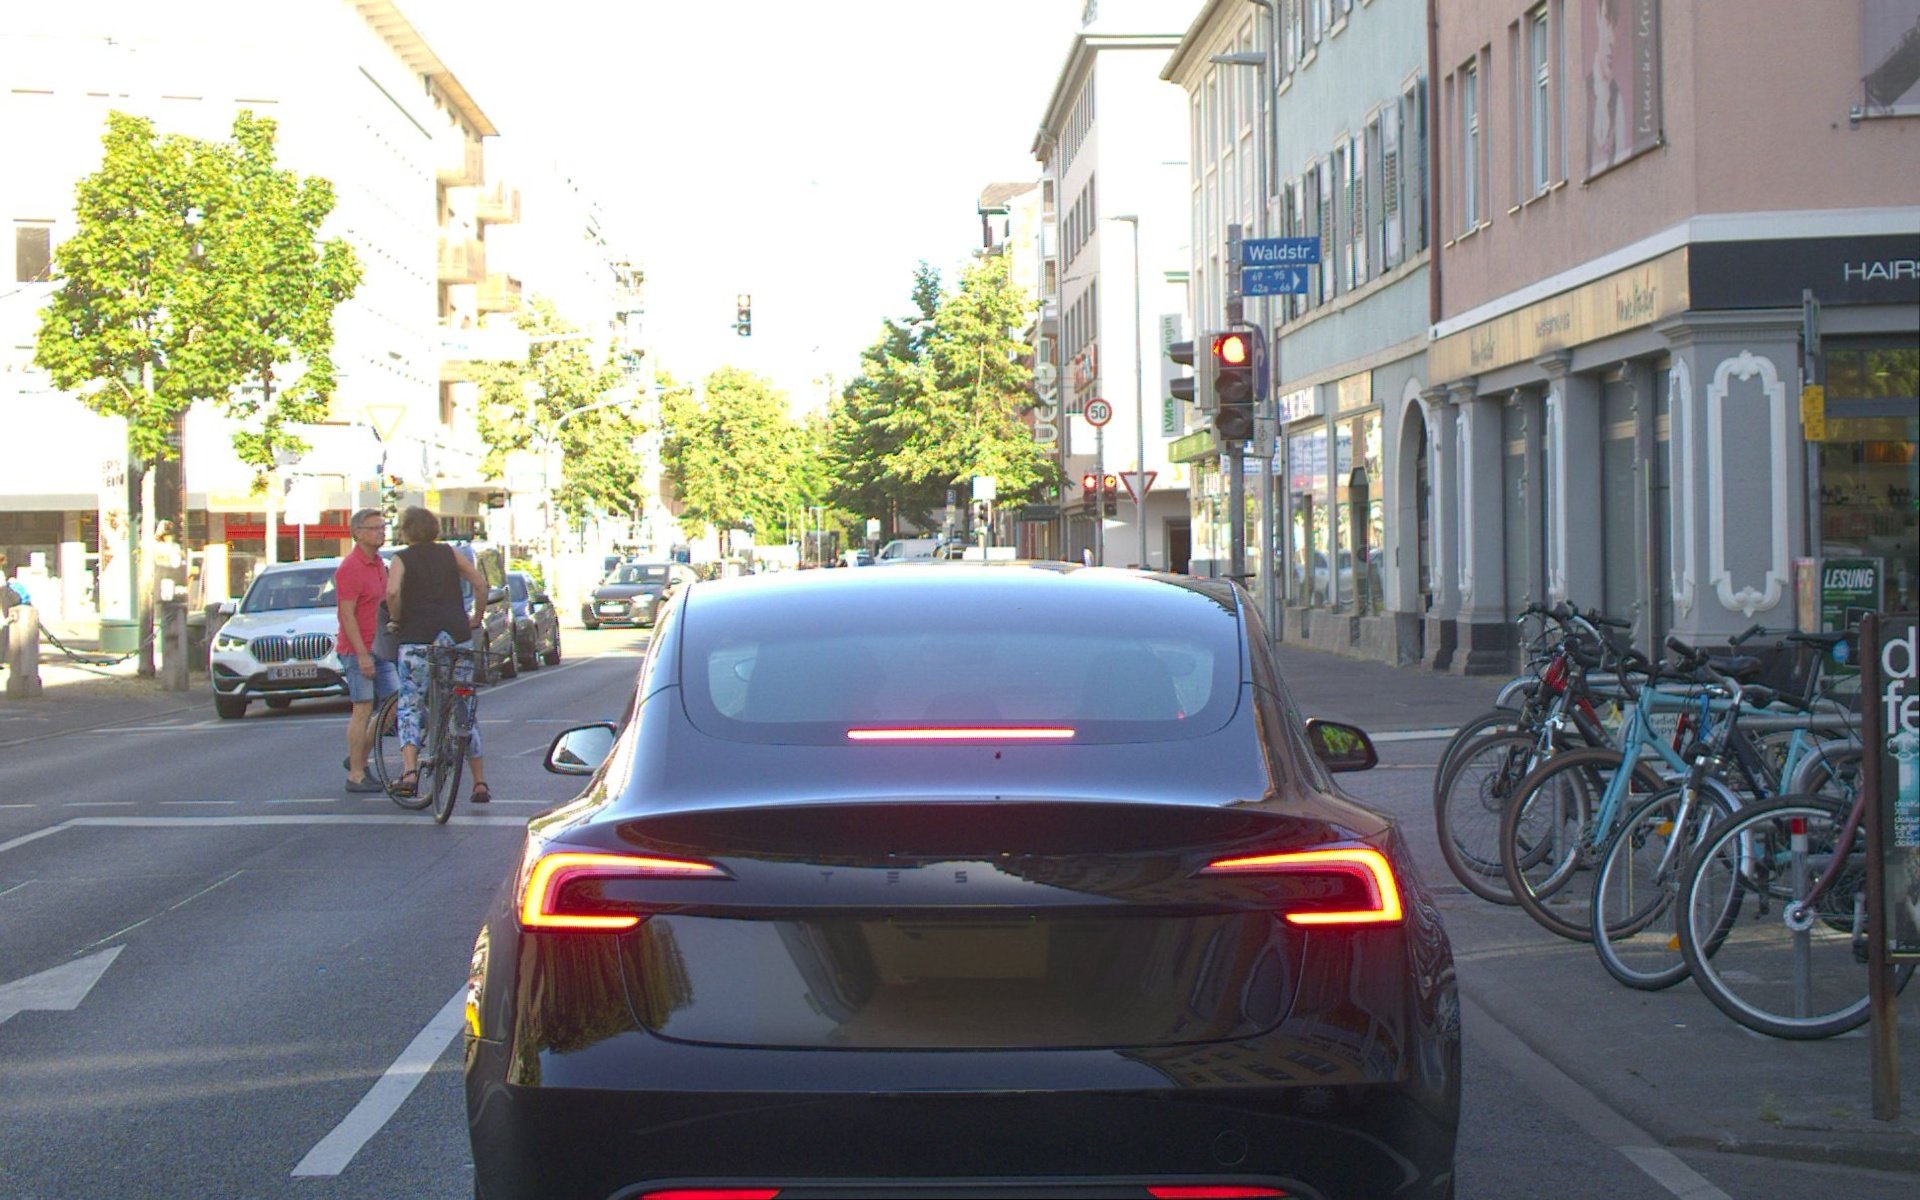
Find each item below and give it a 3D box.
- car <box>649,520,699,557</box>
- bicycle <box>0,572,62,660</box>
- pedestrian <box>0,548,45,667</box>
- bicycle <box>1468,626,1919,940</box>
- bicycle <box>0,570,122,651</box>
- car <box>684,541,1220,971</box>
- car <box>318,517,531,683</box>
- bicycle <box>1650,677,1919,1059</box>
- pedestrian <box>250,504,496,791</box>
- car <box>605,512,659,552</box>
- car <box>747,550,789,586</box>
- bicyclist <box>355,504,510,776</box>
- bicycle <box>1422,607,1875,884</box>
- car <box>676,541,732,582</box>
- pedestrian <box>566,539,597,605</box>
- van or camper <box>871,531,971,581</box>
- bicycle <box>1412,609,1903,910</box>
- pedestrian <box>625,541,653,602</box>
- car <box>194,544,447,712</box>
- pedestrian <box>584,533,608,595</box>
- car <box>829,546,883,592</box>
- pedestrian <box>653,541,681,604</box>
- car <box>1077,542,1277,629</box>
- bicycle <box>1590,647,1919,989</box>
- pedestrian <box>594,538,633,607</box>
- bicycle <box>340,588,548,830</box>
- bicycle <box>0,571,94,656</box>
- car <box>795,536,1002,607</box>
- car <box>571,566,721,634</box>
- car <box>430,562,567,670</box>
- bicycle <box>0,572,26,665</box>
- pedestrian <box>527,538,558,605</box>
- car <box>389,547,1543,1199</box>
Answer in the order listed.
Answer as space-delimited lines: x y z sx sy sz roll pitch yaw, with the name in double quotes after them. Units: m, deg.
-15.648 -3.357 188.286 2.275 2.007 4.717 1 1 1 "car"
-14.483 0.218 49.870 2.662 1.255 0.943 1 0 -3 "bicycle"
-13.385 0.090 47.030 1.095 1.606 1.264 1 1 37 "pedestrian"
2.806 0.654 12.534 1.813 1.098 0.653 0 1 1 "bicycle"
-14.690 0.164 54.570 2.542 1.247 0.943 1 0 -3 "bicycle"
-0.054 0.522 14.204 1.850 1.476 4.452 1 1 -1 "car"
-6.568 -0.036 42.668 1.945 1.940 4.820 0 1 -1 "car"
3.032 0.756 10.056 1.882 1.040 0.653 -1 1 1 "bicycle"
-3.627 0.278 21.300 1.111 1.714 1.060 1 0 20 "pedestrian"
-17.124 -3.537 179.647 2.275 2.007 4.717 1 1 1 "car"
-10.441 -1.743 187.139 2.132 1.963 4.134 0 1 -1 "car"
-2.963 0.212 19.276 0.606 1.479 0.958 1 0 -24 "bicyclist"
2.928 0.609 14.742 1.813 1.148 0.653 0 1 1 "bicycle"
-12.393 -1.871 166.456 2.414 1.963 4.678 0 1 -1 "car"
-10.719 -0.800 97.330 0.732 1.861 0.791 1 0 -17 "pedestrian"
-1.899 -2.137 167.554 4.850 2.430 1.851 0 1 -1 "van or camper"
2.737 0.617 13.607 1.813 1.148 0.653 0 1 1 "bicycle"
-9.963 -0.883 106.666 0.694 1.861 0.910 1 0 -14 "pedestrian"
-6.682 0.254 36.345 1.825 1.559 4.301 -4 1 -1 "car"
-10.993 -1.075 103.883 0.695 1.861 0.659 1 0 -5 "pedestrian"
-4.074 -1.223 134.888 2.035 1.782 4.006 0 1 -1 "car"
-8.758 -0.829 102.873 0.774 1.861 1.009 1 0 -7 "pedestrian"
4.713 -0.327 74.681 3.992 1.861 1.698 0 1 -21 "car"
3.006 0.690 11.127 1.813 1.056 0.653 0 1 1 "bicycle"
-9.523 -0.756 94.551 0.734 1.861 0.789 1 0 28 "pedestrian"
-2.894 0.571 19.116 0.627 1.219 2.001 0 2 -24 "bicycle"
-14.529 0.190 52.145 2.542 1.247 0.943 1 0 -3 "bicycle"
-1.510 -0.707 84.680 4.697 1.425 1.736 -4 1 -24 "car"
-6.647 -0.006 73.057 1.695 1.385 3.912 1 1 19 "car"
-6.649 0.204 49.802 1.461 1.425 3.606 -4 1 -1 "car"
-14.482 0.236 47.551 2.875 1.266 0.943 1 0 -3 "bicycle"
-11.768 -0.811 96.914 0.732 1.861 0.791 1 0 -17 "pedestrian"
-0.018 0.626 7.779 1.850 1.442 4.452 1 1 -1 "car"
